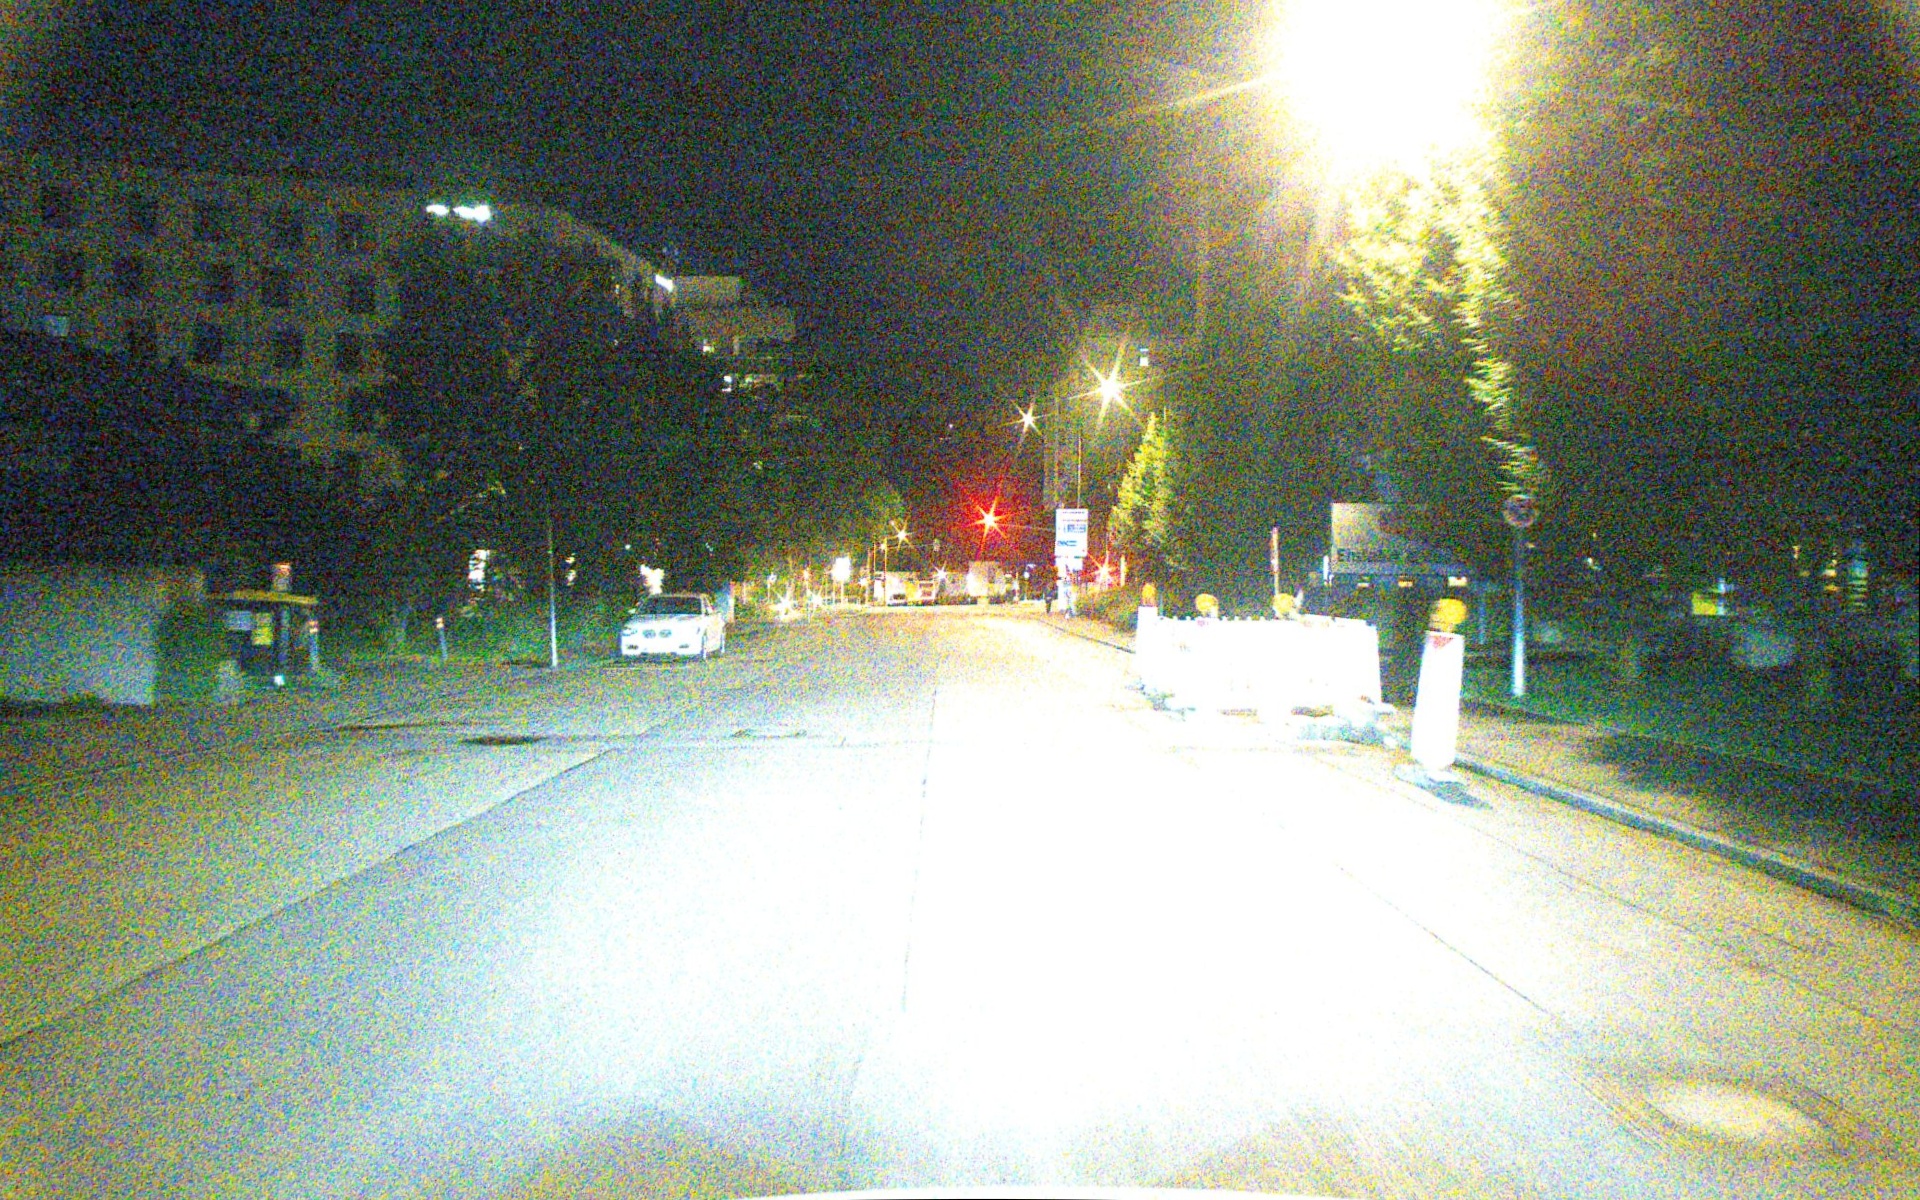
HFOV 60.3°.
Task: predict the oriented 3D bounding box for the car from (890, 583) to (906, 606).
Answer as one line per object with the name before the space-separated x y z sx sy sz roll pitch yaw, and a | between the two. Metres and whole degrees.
car | -8.157 -0.756 217.561 1.955 3.026 3.996 0 0 -5

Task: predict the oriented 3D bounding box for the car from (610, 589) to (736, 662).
car | -6.065 0.491 35.413 1.872 1.428 4.338 -1 1 1

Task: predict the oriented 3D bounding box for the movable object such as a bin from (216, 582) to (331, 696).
movable object such as a bin | -9.424 0.518 22.747 1.141 1.522 1.065 0 0 -3

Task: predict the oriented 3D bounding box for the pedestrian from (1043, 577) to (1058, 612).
pedestrian | 5.162 -0.321 94.339 0.725 2.016 0.623 0 0 -17

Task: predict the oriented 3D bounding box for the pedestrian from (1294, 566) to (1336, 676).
pedestrian | 6.196 0.355 28.900 0.558 1.885 0.820 0 0 1

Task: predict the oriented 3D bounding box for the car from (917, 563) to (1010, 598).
car | 0.493 -2.682 230.838 12.175 4.792 4.792 0 0 -14
